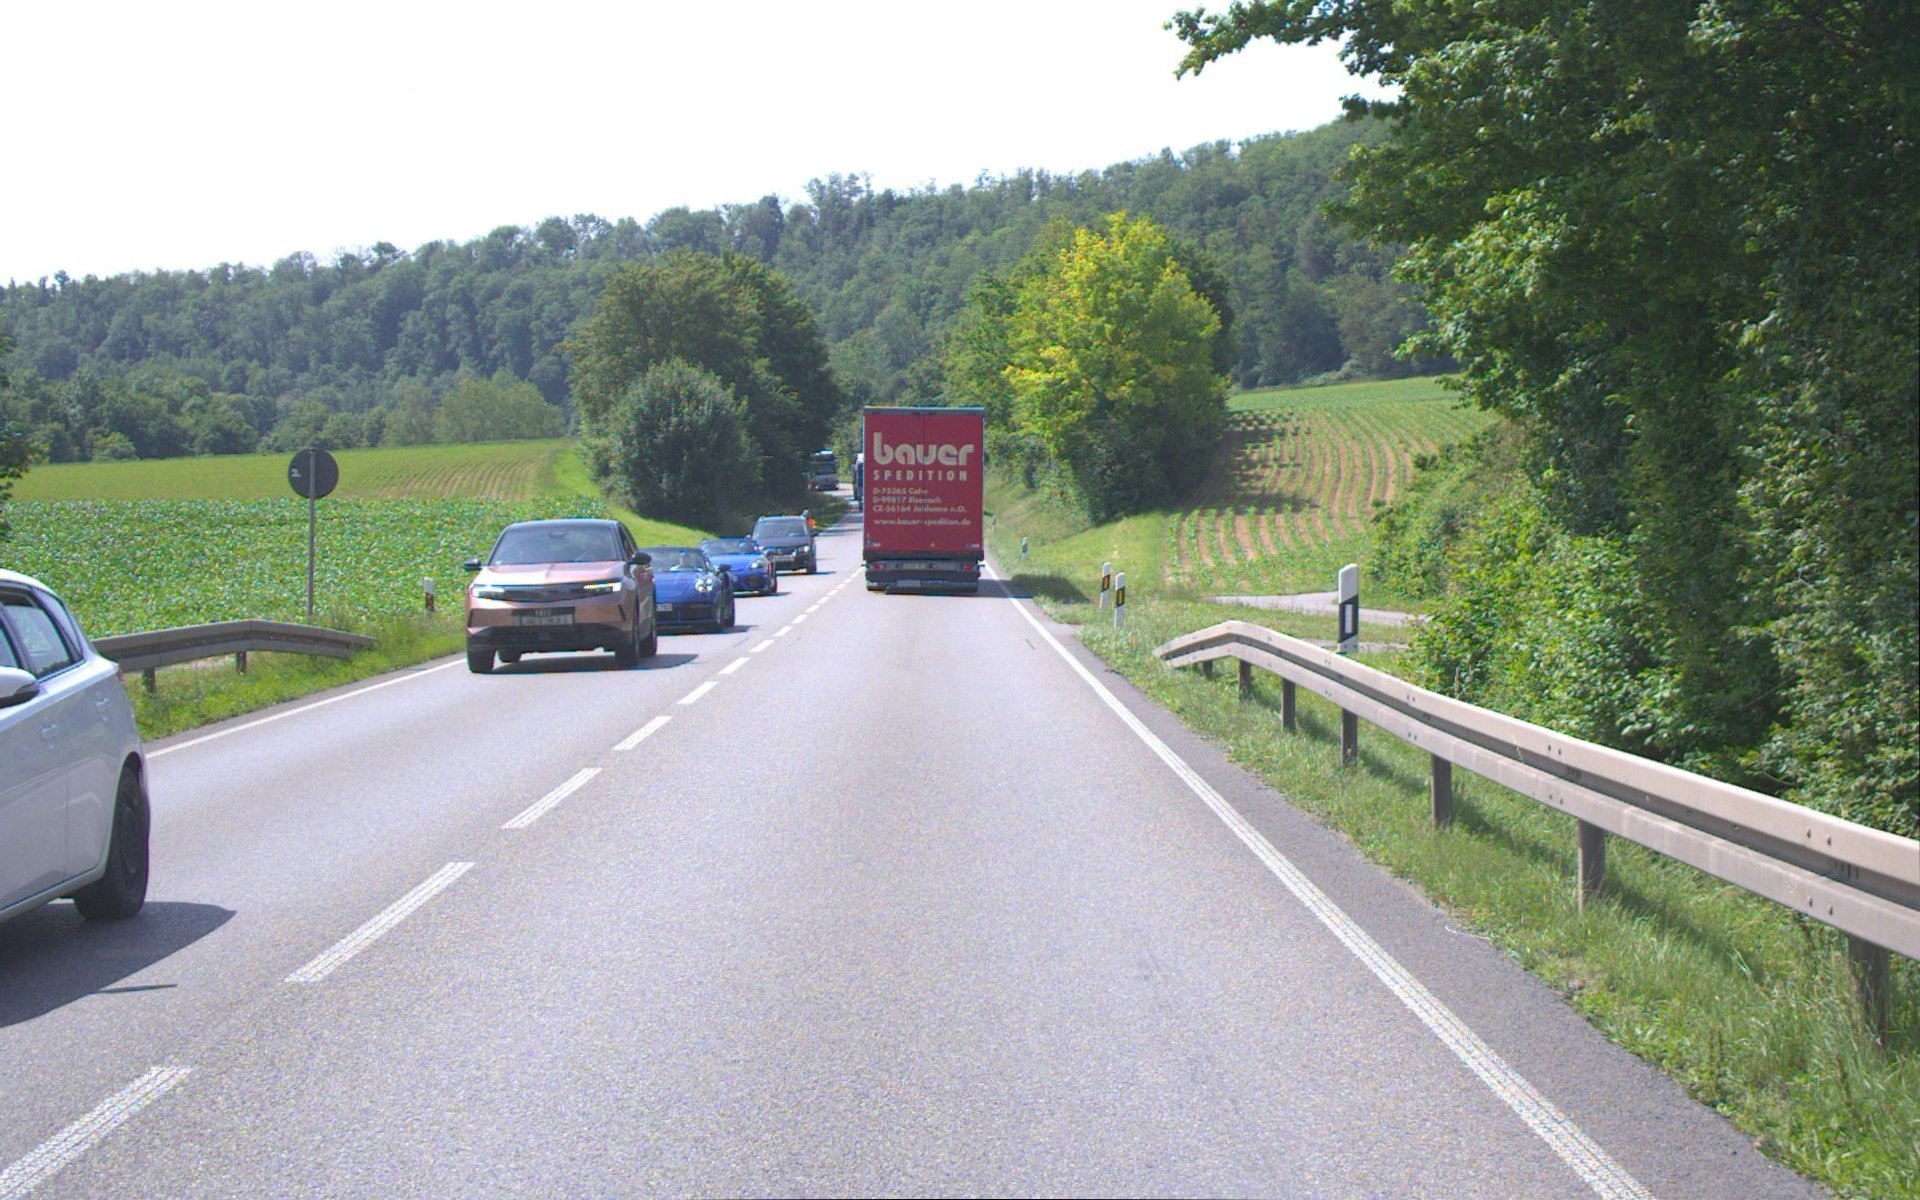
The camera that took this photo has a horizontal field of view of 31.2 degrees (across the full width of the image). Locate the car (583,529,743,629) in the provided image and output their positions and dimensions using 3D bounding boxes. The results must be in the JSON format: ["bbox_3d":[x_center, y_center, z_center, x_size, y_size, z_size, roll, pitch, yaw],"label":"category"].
[{"bbox_3d":[-4.317,-0.338,50.525,1.993,1.337,4.000,-1,2,0],"label":"car"}]

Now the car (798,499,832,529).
[{"bbox_3d":[-8.898,-5.261,210.839,1.993,1.788,4.000,-1,1,-2],"label":"car"}]

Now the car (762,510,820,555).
[{"bbox_3d":[-5.784,-2.336,118.158,1.808,1.481,4.000,-1,2,-1],"label":"car"}]

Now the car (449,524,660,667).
[{"bbox_3d":[-4.518,-0.089,38.798,1.913,1.469,3.874,-1,1,0],"label":"car"}]

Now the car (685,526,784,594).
[{"bbox_3d":[-4.752,-0.864,73.014,1.832,1.337,4.000,-1,2,0],"label":"car"}]

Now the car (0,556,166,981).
[{"bbox_3d":[-4.158,0.611,12.191,1.731,1.429,3.916,-3,1,0],"label":"car"}]

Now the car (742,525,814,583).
[{"bbox_3d":[-5.007,-1.286,94.890,1.808,1.481,4.000,-1,2,-1],"label":"car"}]

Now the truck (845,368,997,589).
[{"bbox_3d":[-0.802,-2.702,78.645,3.172,4.609,13.544,0,1,0],"label":"truck"}]
